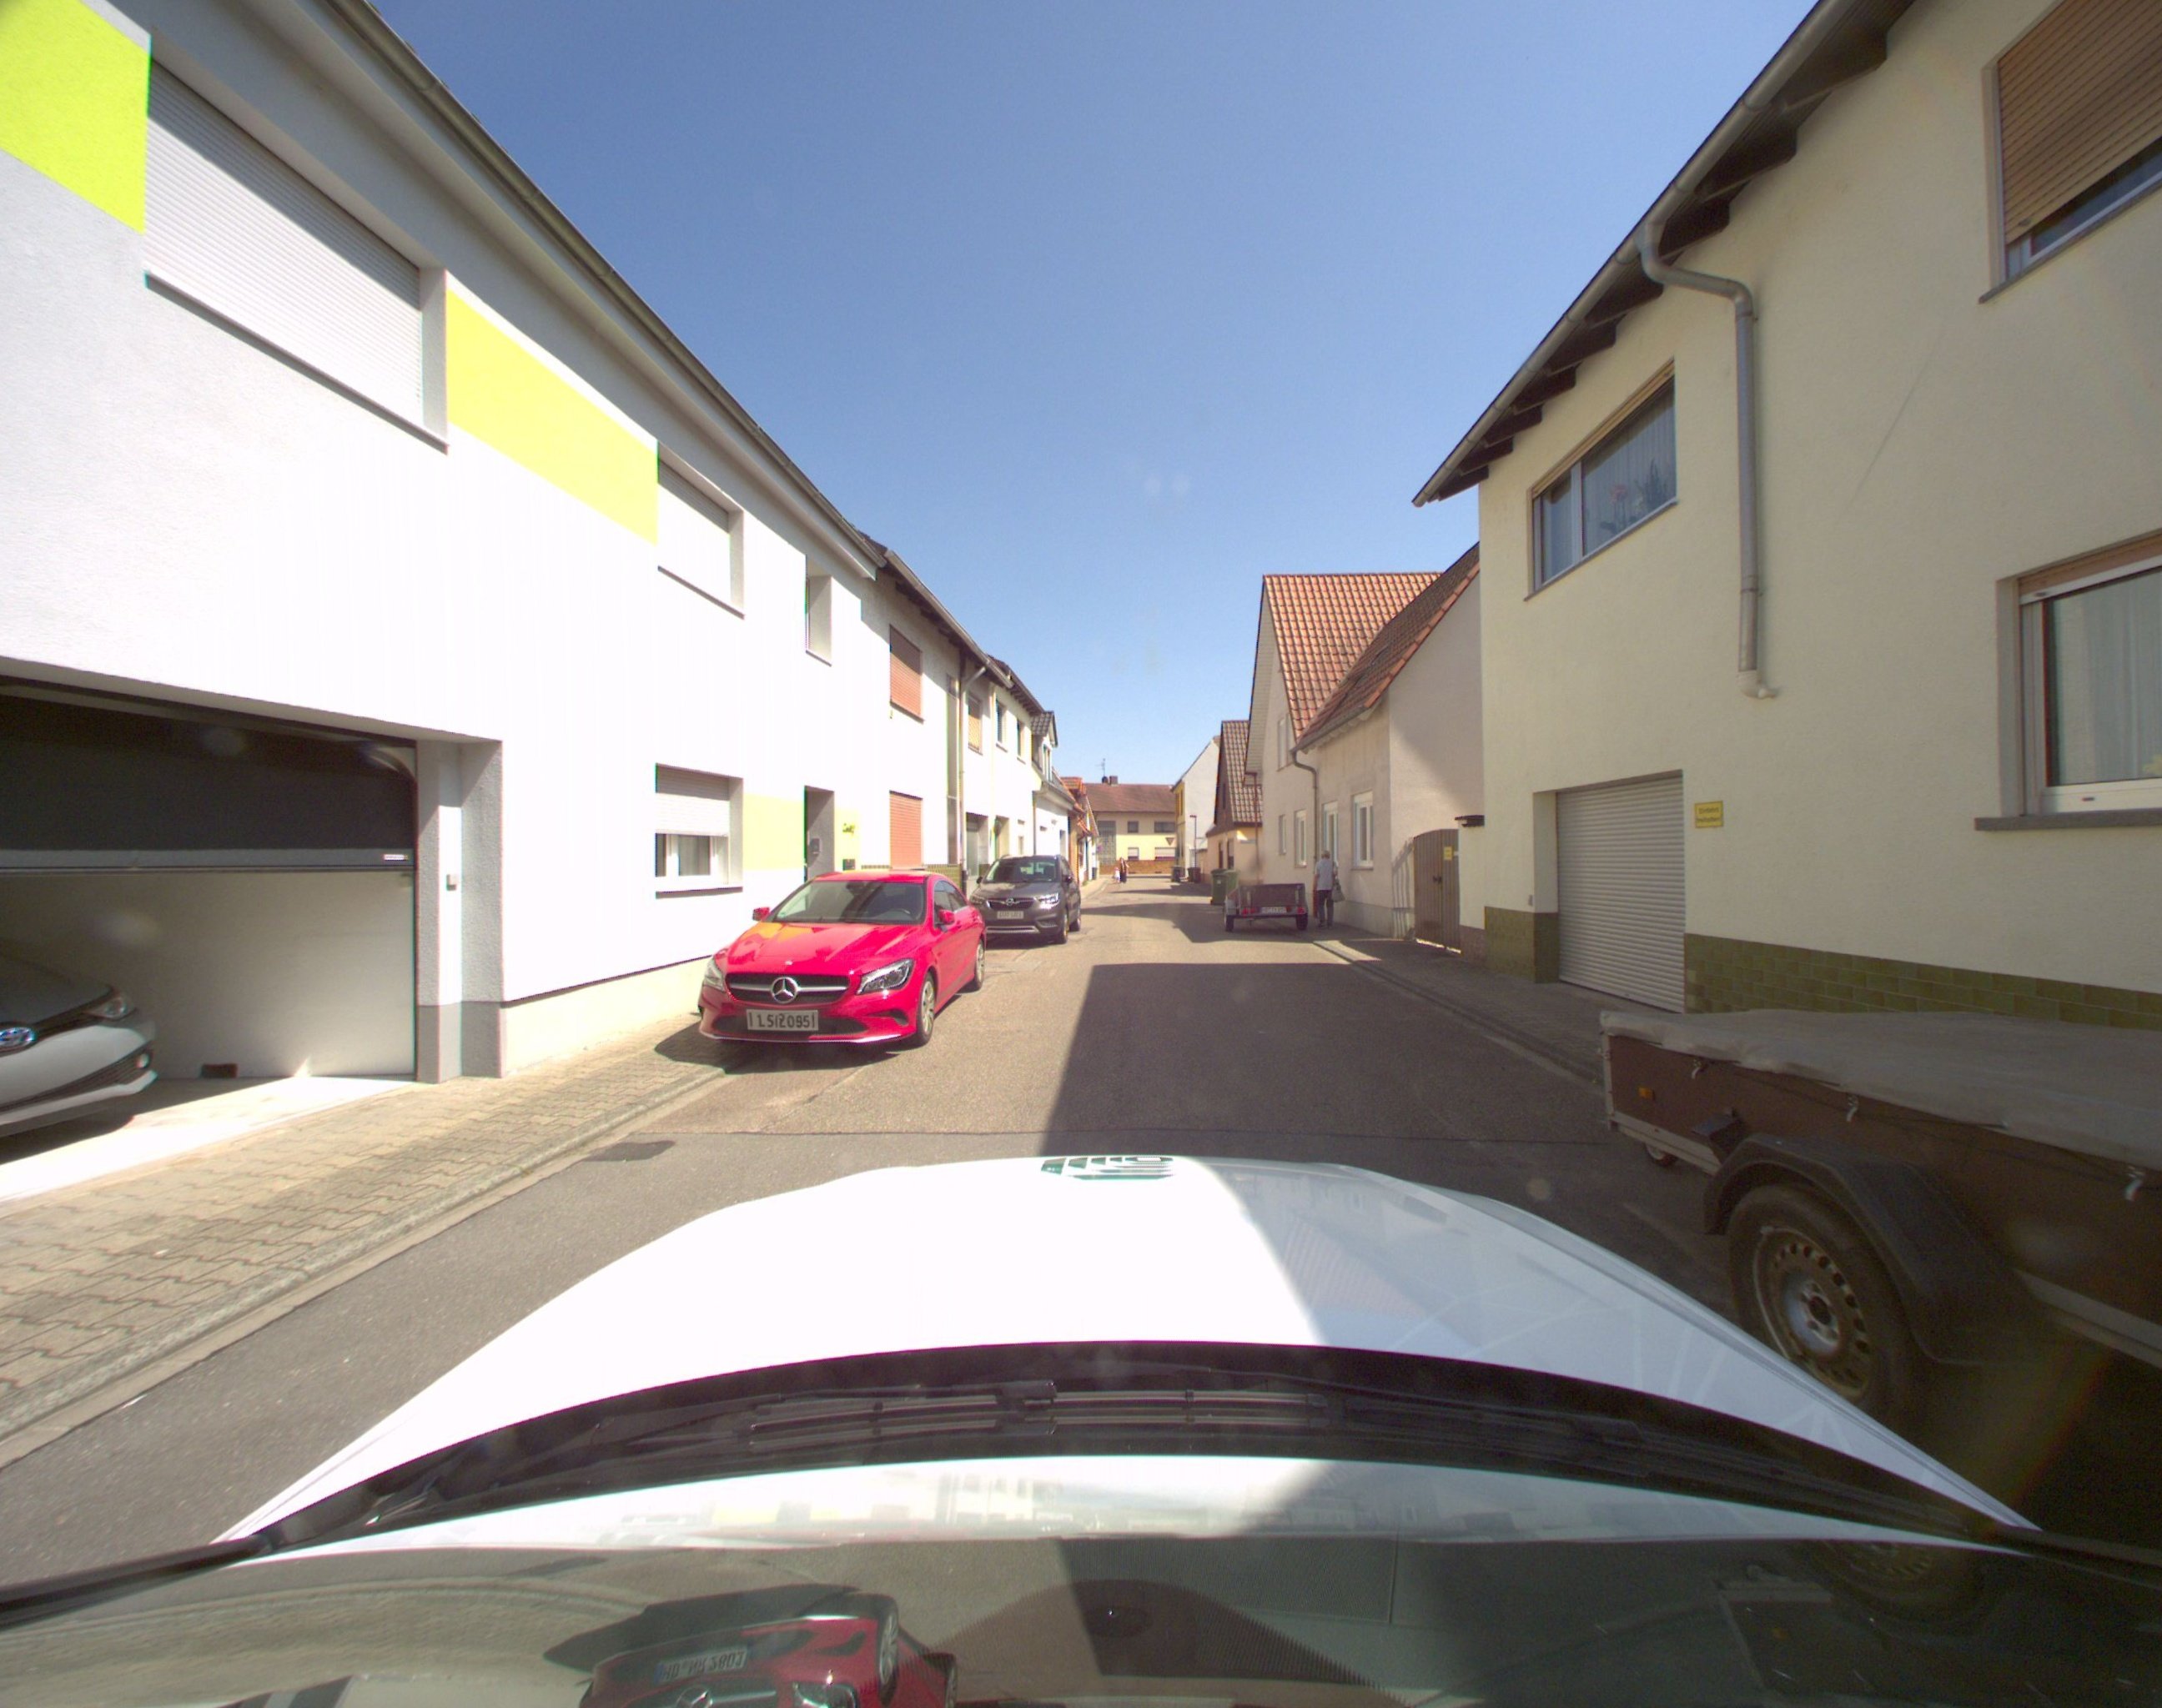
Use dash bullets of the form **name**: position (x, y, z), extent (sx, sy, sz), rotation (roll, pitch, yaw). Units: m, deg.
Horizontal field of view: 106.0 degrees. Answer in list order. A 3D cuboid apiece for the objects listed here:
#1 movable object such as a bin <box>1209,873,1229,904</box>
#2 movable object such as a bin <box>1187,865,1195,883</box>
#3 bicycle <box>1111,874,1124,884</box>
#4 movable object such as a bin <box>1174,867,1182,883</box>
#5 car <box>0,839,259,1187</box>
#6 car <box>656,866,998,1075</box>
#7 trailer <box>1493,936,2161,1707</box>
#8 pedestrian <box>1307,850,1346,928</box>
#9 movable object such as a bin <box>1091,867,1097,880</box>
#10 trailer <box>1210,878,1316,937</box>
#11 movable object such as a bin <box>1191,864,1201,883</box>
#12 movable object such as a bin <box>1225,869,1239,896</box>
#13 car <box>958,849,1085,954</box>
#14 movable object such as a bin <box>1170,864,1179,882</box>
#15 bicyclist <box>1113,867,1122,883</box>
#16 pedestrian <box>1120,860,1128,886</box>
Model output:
- **movable object such as a bin**: position (4.647, 1.156, 27.508), extent (0.582, 1.033, 0.596), rotation (-1, -1, 3)
- **movable object such as a bin**: position (7.006, 1.282, 51.785), extent (0.424, 1.128, 0.414), rotation (-1, -1, 1)
- **bicycle**: position (2.254, 1.554, 50.618), extent (0.443, 0.567, 0.931), rotation (-1, -1, -25)
- **movable object such as a bin**: position (6.257, 1.336, 52.391), extent (0.422, 0.975, 0.473), rotation (-1, -1, 1)
- **car**: position (-6.998, 0.778, 4.109), extent (3.968, 1.618, 1.835), rotation (-1, 0, 4)
- **car**: position (-2.057, 0.872, 8.087), extent (1.793, 1.441, 4.489), rotation (-1, -1, 2)
- **trailer**: position (2.790, 0.945, 2.196), extent (1.809, 1.090, 3.485), rotation (-1, 0, 4)
- **pedestrian**: position (5.020, 0.718, 16.669), extent (0.593, 1.565, 0.557), rotation (-1, -4, 1)
- **movable object such as a bin**: position (0.924, 1.421, 58.737), extent (0.447, 0.921, 0.404), rotation (-1, -1, 1)
- **trailer**: position (3.782, 1.085, 17.405), extent (1.692, 1.033, 3.485), rotation (-1, 0, 4)
- **movable object such as a bin**: position (6.970, 1.189, 49.216), extent (0.523, 1.128, 0.366), rotation (-1, -1, 1)
- **movable object such as a bin**: position (6.269, 1.194, 33.839), extent (0.456, 1.087, 0.503), rotation (-1, -1, 3)
- **car**: position (-0.987, 0.823, 15.926), extent (1.792, 1.704, 4.492), rotation (-2, -1, 4)
- **movable object such as a bin**: position (6.090, 1.228, 53.011), extent (0.567, 1.128, 0.454), rotation (-1, -1, 1)
- **bicyclist**: position (2.254, 1.300, 50.622), extent (0.463, 0.959, 0.349), rotation (-1, -1, -25)
- **pedestrian**: position (2.717, 1.181, 51.239), extent (0.411, 1.610, 0.367), rotation (-1, -1, -6)
